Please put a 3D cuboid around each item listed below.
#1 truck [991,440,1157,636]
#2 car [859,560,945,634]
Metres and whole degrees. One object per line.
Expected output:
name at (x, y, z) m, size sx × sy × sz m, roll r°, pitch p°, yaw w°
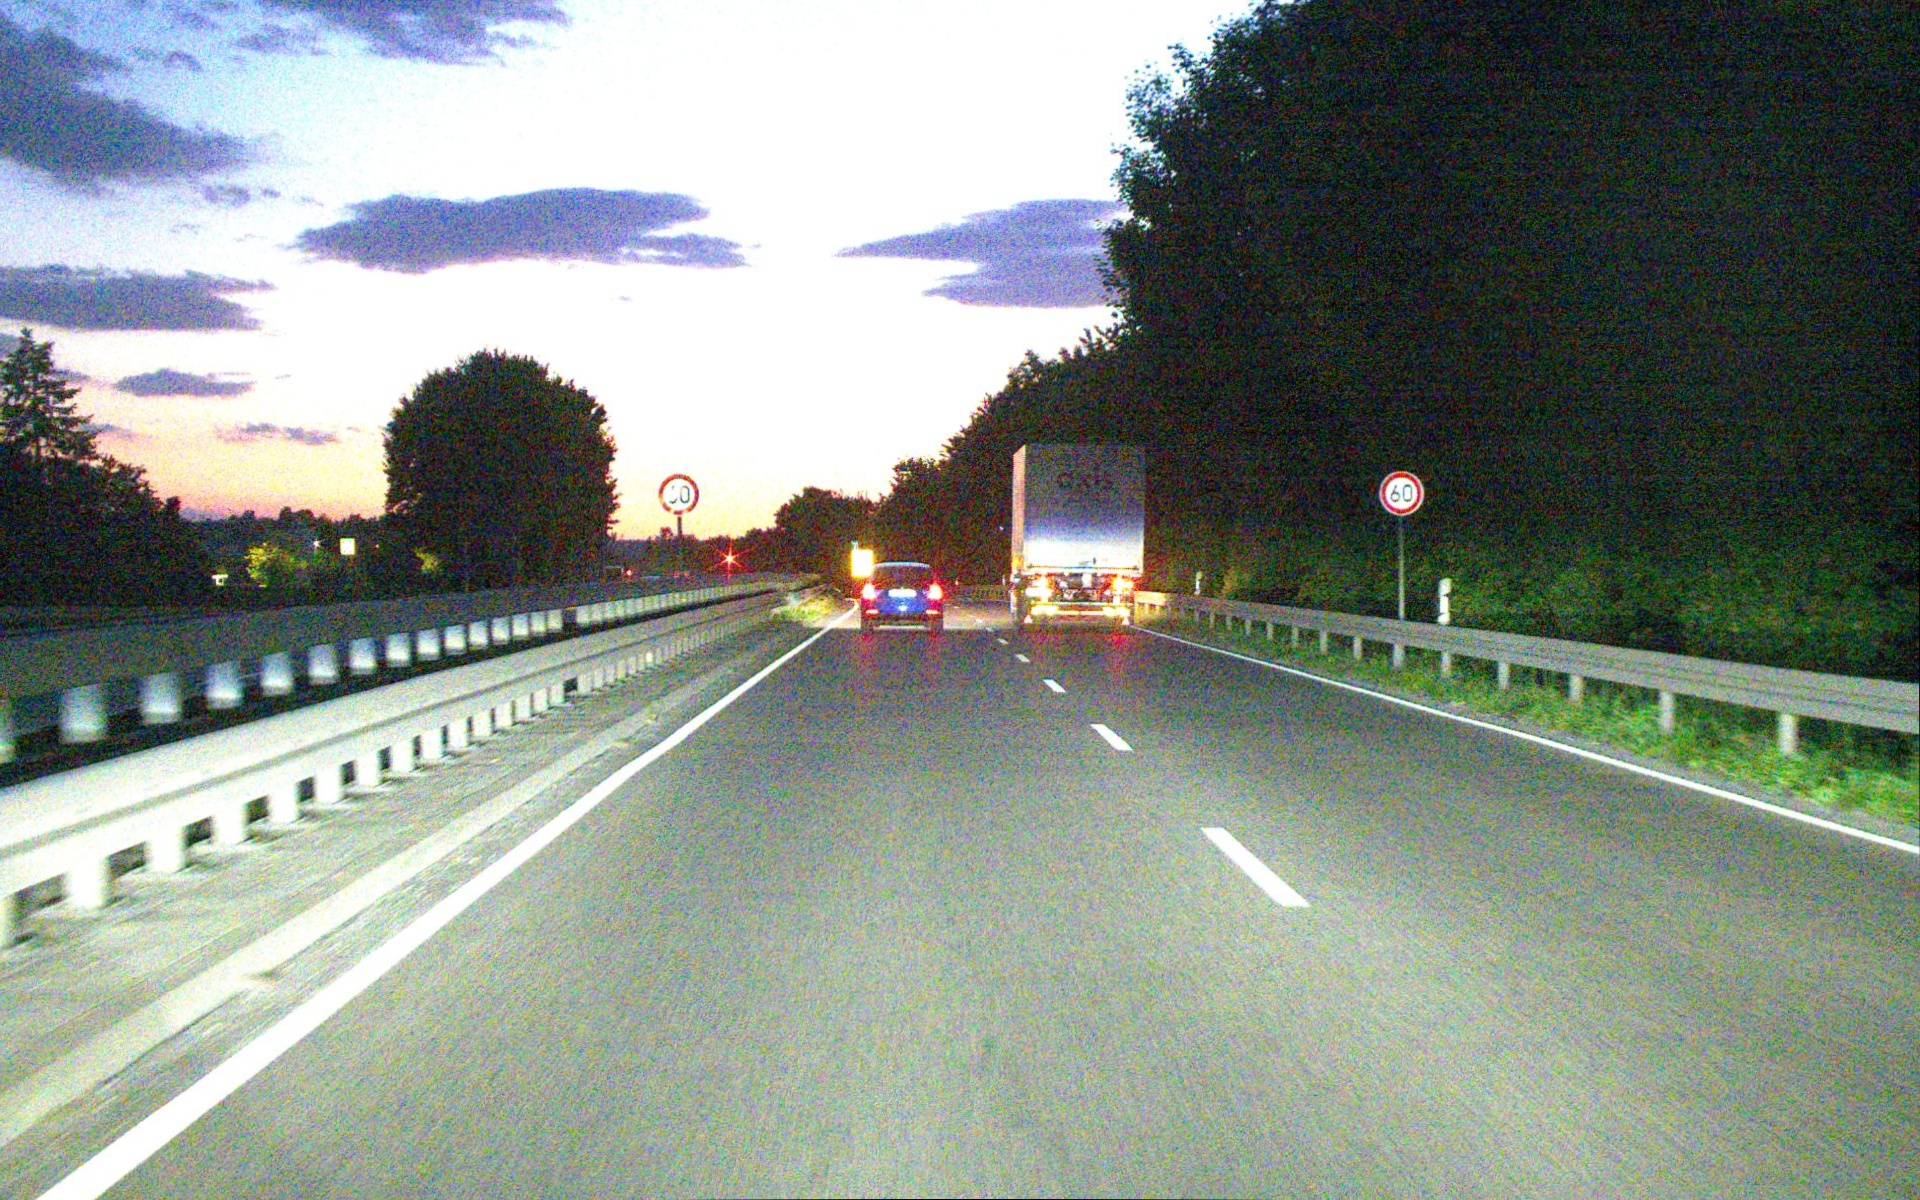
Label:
truck at (2.454, -1.422, 78.719) m, size 2.883 × 4.092 × 12.685 m, roll 1°, pitch 1°, yaw -2°
car at (-1.222, -0.082, 71.263) m, size 1.695 × 1.447 × 3.915 m, roll 1°, pitch 1°, yaw -2°
